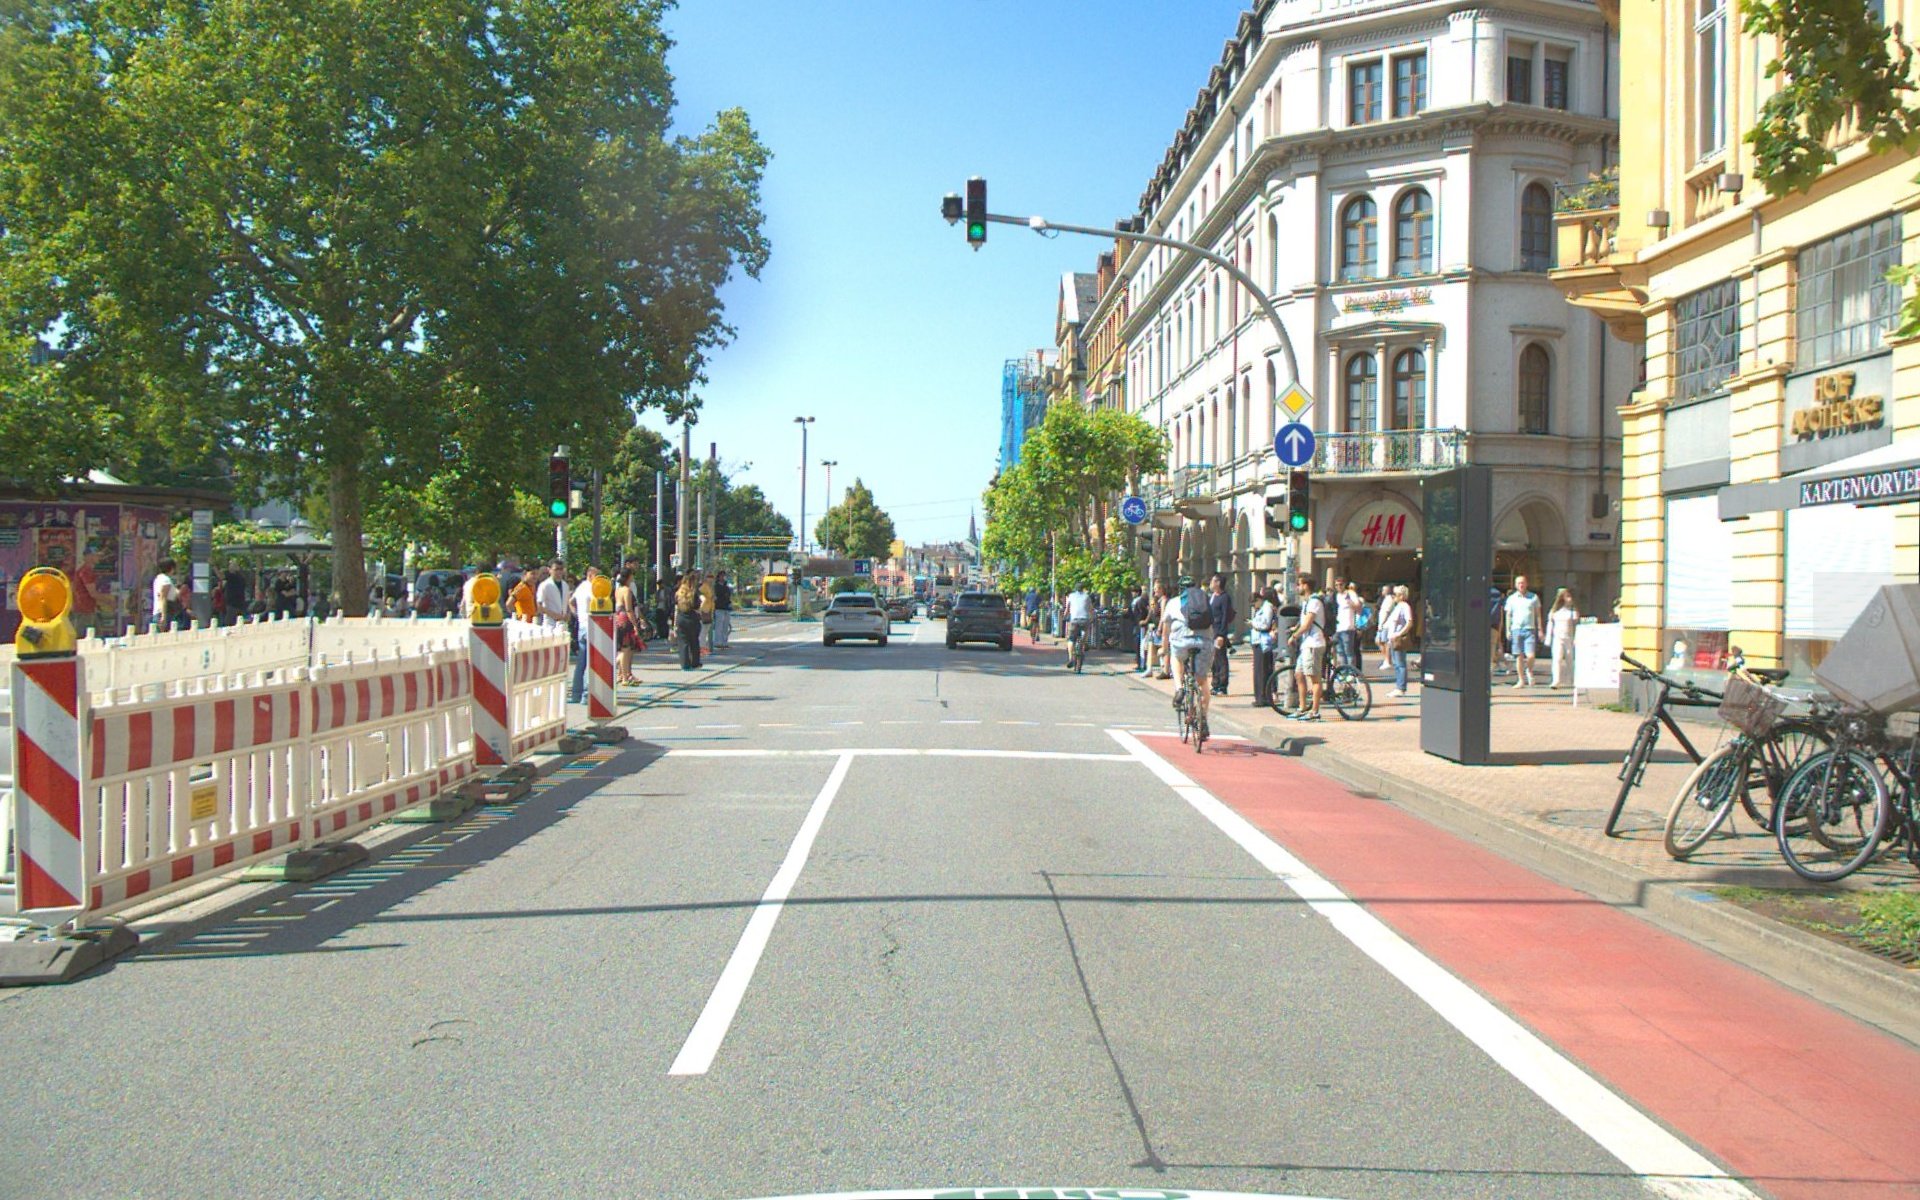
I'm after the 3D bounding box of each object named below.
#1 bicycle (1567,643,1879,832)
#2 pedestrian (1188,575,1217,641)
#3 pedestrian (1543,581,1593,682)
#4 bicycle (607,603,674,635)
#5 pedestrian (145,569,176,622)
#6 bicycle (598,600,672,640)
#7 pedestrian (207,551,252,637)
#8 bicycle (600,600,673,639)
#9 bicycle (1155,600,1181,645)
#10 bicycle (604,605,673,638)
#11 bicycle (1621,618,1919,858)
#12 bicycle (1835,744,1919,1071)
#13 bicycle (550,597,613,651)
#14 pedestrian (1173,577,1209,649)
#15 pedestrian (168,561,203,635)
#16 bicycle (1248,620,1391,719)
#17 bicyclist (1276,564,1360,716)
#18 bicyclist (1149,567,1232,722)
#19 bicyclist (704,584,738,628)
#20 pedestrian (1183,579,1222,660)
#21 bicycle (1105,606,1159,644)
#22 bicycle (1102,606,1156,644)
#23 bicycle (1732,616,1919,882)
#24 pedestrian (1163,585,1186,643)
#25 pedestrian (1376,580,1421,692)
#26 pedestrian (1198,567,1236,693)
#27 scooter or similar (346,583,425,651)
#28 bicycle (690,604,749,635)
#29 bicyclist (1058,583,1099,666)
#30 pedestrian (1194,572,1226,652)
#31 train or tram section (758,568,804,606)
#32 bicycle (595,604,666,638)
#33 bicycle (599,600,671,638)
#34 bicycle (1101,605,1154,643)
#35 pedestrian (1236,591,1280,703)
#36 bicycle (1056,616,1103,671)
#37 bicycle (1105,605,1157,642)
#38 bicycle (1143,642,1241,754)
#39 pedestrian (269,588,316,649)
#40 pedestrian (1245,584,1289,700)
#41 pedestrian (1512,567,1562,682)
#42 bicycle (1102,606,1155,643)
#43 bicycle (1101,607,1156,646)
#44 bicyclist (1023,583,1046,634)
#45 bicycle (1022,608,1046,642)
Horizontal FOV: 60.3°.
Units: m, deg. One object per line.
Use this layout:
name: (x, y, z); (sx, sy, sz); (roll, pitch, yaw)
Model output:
bicycle: (4.818, 0.853, 10.486); (1.746, 1.142, 0.562); (0, 0, -4)
pedestrian: (6.697, 0.219, 45.676); (0.662, 1.823, 0.612); (1, 0, -1)
pedestrian: (9.844, 0.503, 26.778); (0.579, 1.596, 0.547); (-1, -1, 45)
bicycle: (-9.927, 0.580, 51.401); (2.046, 0.997, 0.682); (0, -1, -13)
pedestrian: (-23.839, -0.139, 49.306); (0.593, 1.540, 0.745); (1, 0, -8)
bicycle: (-9.176, 0.560, 46.671); (2.046, 1.109, 0.682); (0, -1, -13)
pedestrian: (-15.955, -0.128, 36.146); (0.619, 1.842, 0.615); (-2, -1, 19)
bicycle: (-9.267, 0.558, 47.345); (2.046, 1.109, 0.682); (0, -1, -13)
bicycle: (5.492, 0.594, 43.591); (0.391, 1.133, 1.425); (0, 1, 20)
bicycle: (-9.757, 0.655, 50.214); (2.046, 0.997, 0.682); (0, -1, -13)
bicycle: (4.856, 0.767, 9.606); (1.904, 1.279, 0.701); (1, 0, -21)
bicycle: (3.192, 0.943, 4.392); (0.588, 0.942, 2.087); (1, 0, -1)
bicycle: (-7.621, 0.468, 33.361); (0.479, 1.047, 1.936); (1, 0, 11)
pedestrian: (5.630, 0.316, 40.297); (0.603, 1.735, 0.671); (0, 0, -29)
pedestrian: (-17.360, -0.044, 37.075); (0.488, 1.631, 0.498); (-1, -1, 19)
bicycle: (4.435, 0.836, 20.506); (0.595, 1.101, 1.817); (-2, 2, -35)
bicyclist: (4.434, 0.474, 20.496); (0.569, 1.828, 0.846); (-2, 2, -35)
bicyclist: (2.333, 0.441, 16.870); (0.617, 1.507, 1.198); (1, 0, -2)
bicyclist: (-8.390, 0.208, 58.119); (1.033, 1.529, 0.737); (1, 0, -20)
pedestrian: (5.732, 0.467, 39.164); (0.598, 1.837, 0.677); (-7, 0, -3)
bicycle: (4.639, 0.661, 44.626); (1.391, 0.997, 0.445); (0, 1, -1)
bicycle: (4.498, 0.664, 44.162); (1.391, 0.997, 0.445); (0, 1, -1)
bicycle: (5.167, 0.770, 9.014); (1.795, 1.331, 0.684); (1, 0, -21)
pedestrian: (6.898, 0.445, 53.203); (0.615, 1.823, 0.612); (1, 0, -1)
pedestrian: (6.604, 0.535, 24.931); (0.537, 1.668, 0.589); (0, 0, 2)
pedestrian: (4.013, 0.467, 25.846); (0.512, 1.931, 0.641); (0, 0, 2)
scooter or similar: (-12.570, 0.361, 36.201); (1.252, 1.445, 1.037); (1, 0, 29)
bicycle: (-8.446, 0.695, 58.097); (1.931, 1.044, 0.676); (1, 0, -18)
bicyclist: (2.411, 0.488, 33.665); (0.758, 1.664, 0.851); (0, 0, -1)
pedestrian: (5.807, 0.278, 38.420); (0.598, 1.838, 0.677); (1, 0, -3)
train or tram section: (-16.564, -1.192, 153.532); (2.558, 3.406, 11.006); (1, 0, 2)
bicycle: (-9.744, 0.626, 48.990); (2.046, 0.997, 0.682); (0, -1, -13)
bicycle: (-9.429, 0.546, 47.993); (2.046, 1.109, 0.682); (0, -1, -13)
bicycle: (4.612, 0.657, 45.573); (1.391, 0.997, 0.445); (0, 1, -1)
pedestrian: (4.192, 0.651, 23.307); (0.512, 1.548, 0.641); (0, 0, 2)
bicycle: (2.411, 0.858, 33.685); (0.758, 1.023, 2.329); (0, 1, -1)
bicycle: (4.758, 0.655, 46.011); (1.391, 0.997, 0.401); (0, 1, -1)
bicycle: (2.324, 0.962, 16.775); (0.617, 0.997, 2.088); (2, 0, -2)
pedestrian: (-14.833, 0.411, 36.786); (0.619, 1.315, 0.731); (1, 0, 20)
pedestrian: (4.445, 0.602, 23.953); (0.537, 1.659, 0.589); (0, 0, 2)
pedestrian: (9.301, 0.388, 26.655); (0.579, 1.833, 0.547); (-1, -1, 45)
bicycle: (4.598, 0.669, 45.080); (1.391, 0.997, 0.445); (0, 1, -1)
bicycle: (4.416, 0.702, 43.338); (1.391, 0.997, 0.445); (0, 1, -1)
bicyclist: (2.342, 0.254, 52.180); (0.634, 1.578, 0.817); (1, 0, -1)
bicycle: (2.335, 0.774, 52.246); (0.634, 1.015, 2.030); (1, 0, -1)
